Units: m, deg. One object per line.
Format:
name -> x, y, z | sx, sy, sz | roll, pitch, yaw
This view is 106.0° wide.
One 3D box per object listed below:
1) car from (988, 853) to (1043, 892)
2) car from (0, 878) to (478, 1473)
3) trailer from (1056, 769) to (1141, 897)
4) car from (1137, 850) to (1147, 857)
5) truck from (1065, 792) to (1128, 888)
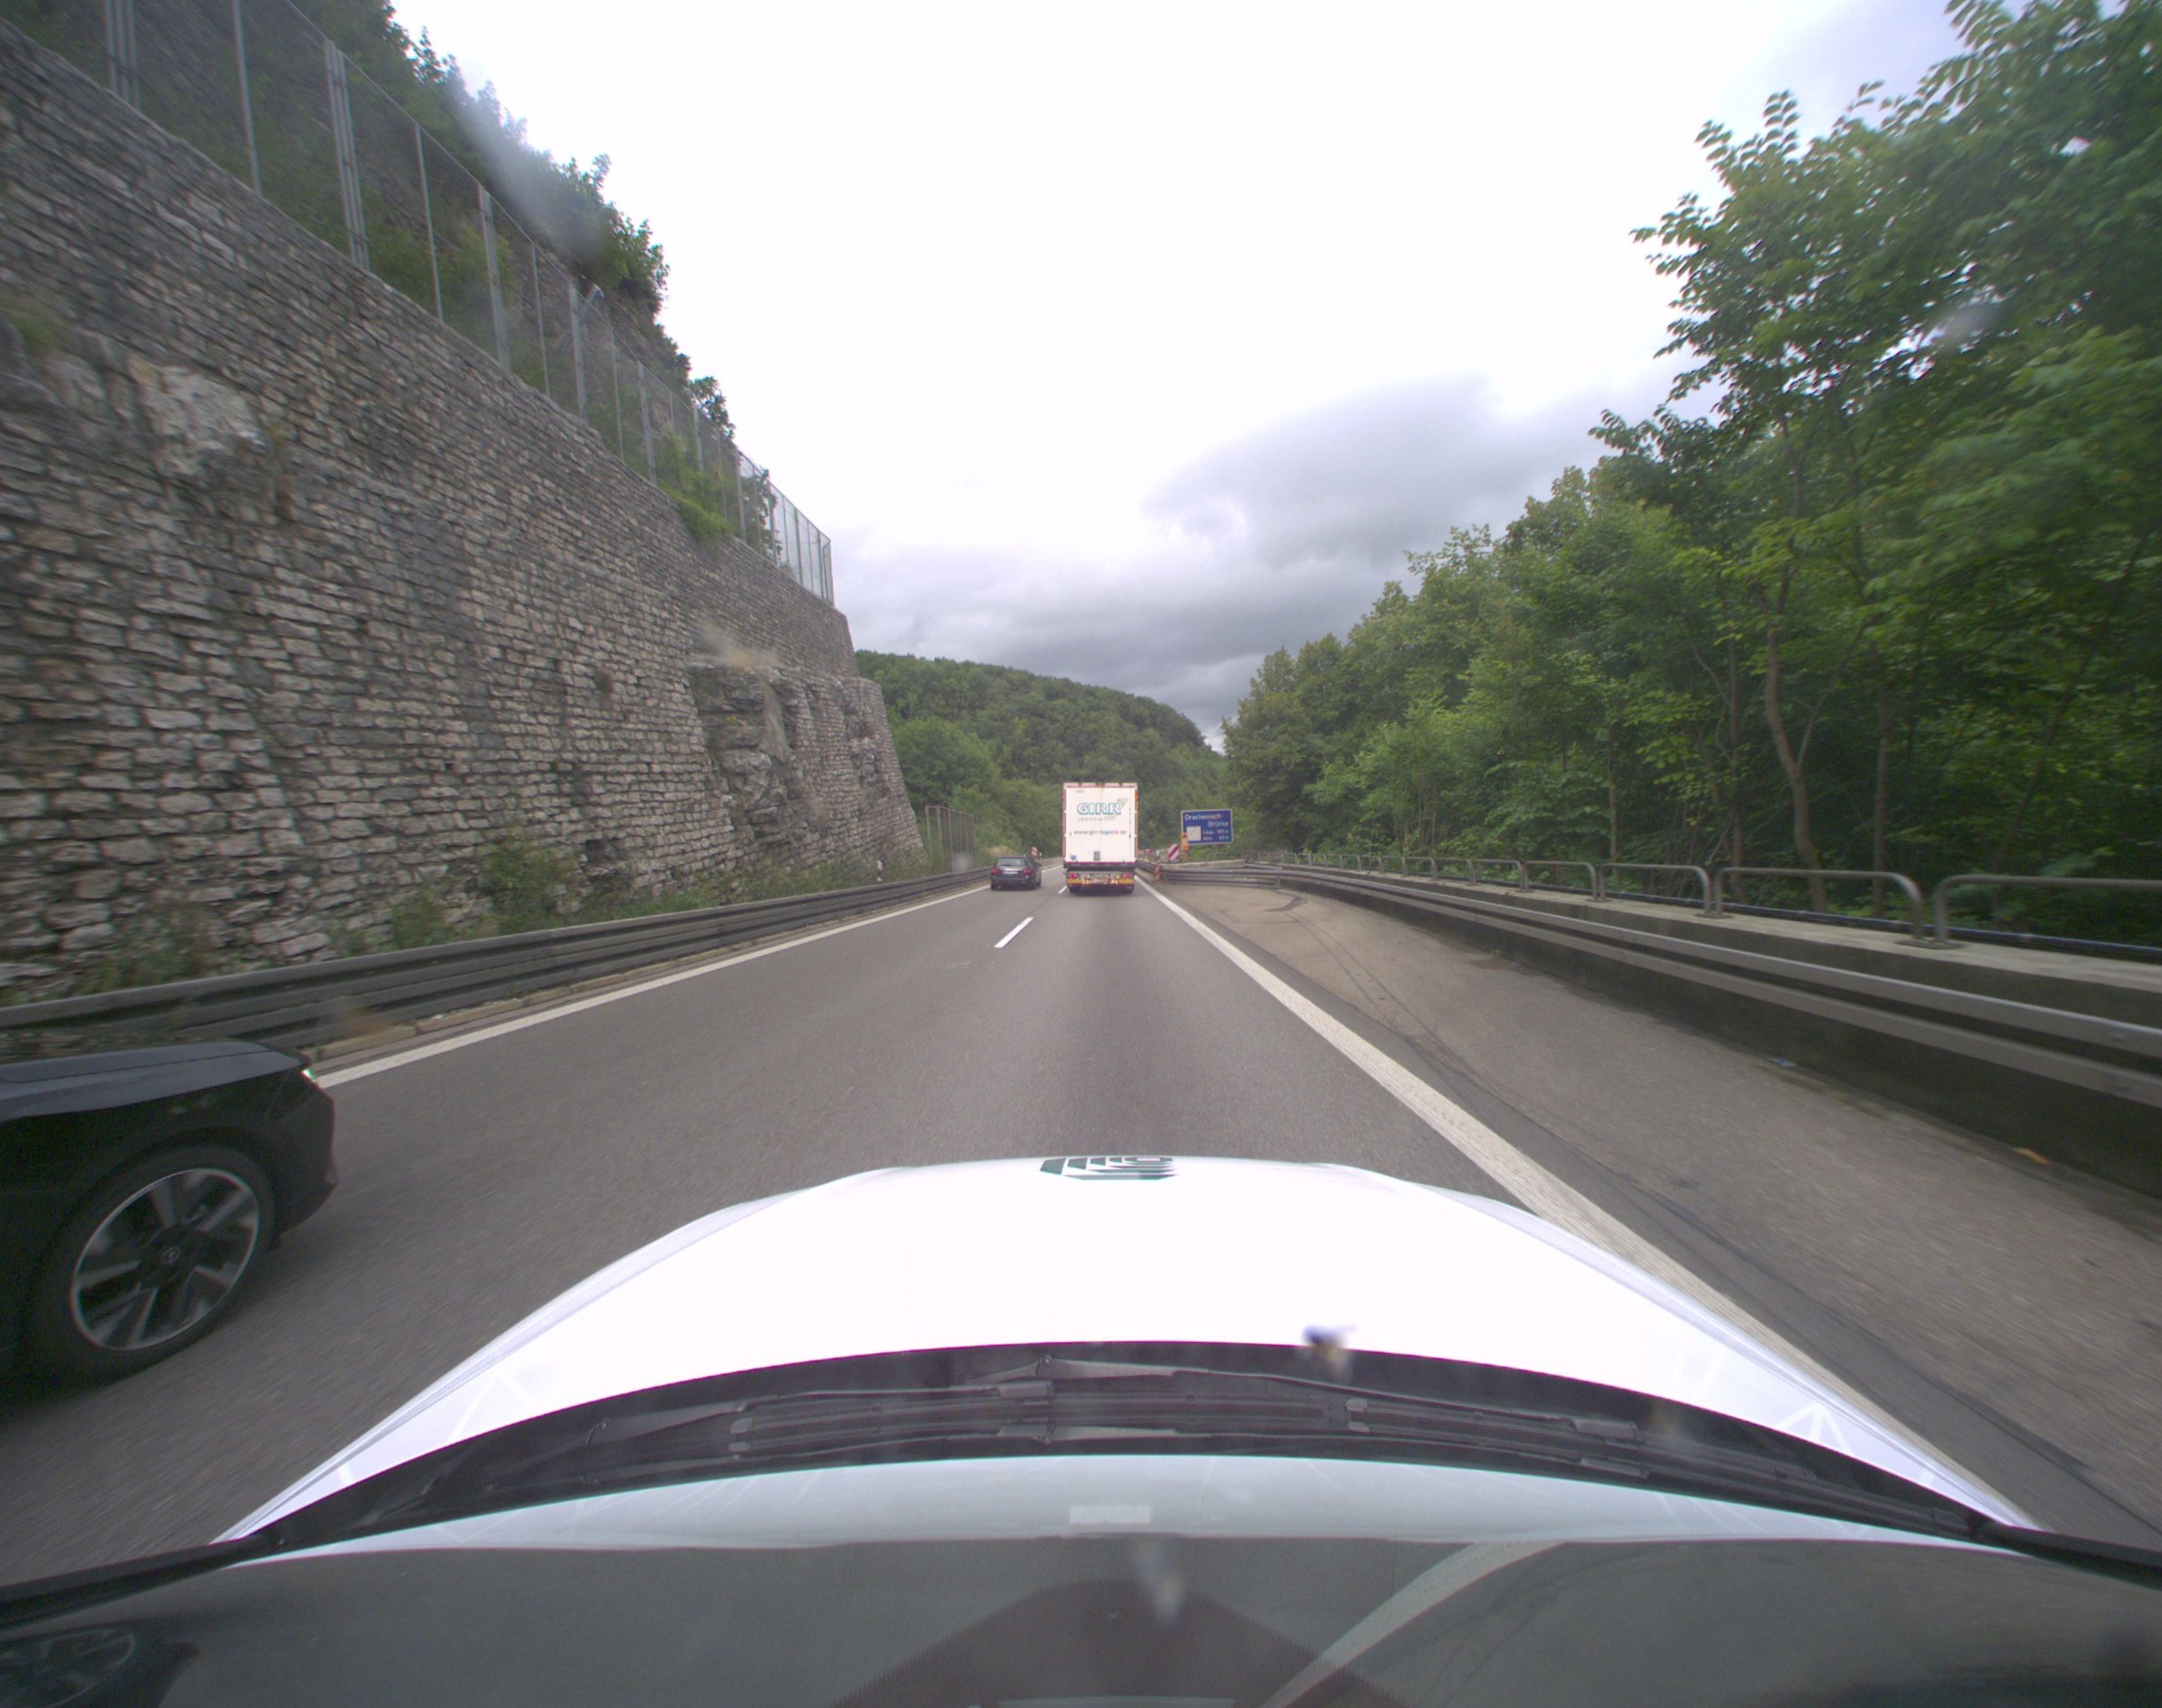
car -> -2.715, 0.737, 34.632 | 1.877, 1.510, 4.419 | -1, -1, 1
car -> -3.656, 0.849, 1.347 | 1.766, 1.461, 4.584 | -1, 0, 2
trailer -> 0.653, -0.666, 33.958 | 2.804, 4.302, 12.244 | -1, -1, 1
car -> 15.450, -0.141, 207.372 | 1.980, 1.684, 4.013 | -1, -1, 12
truck -> 0.736, -0.616, 40.409 | 2.804, 4.302, 6.258 | -1, -1, 0
